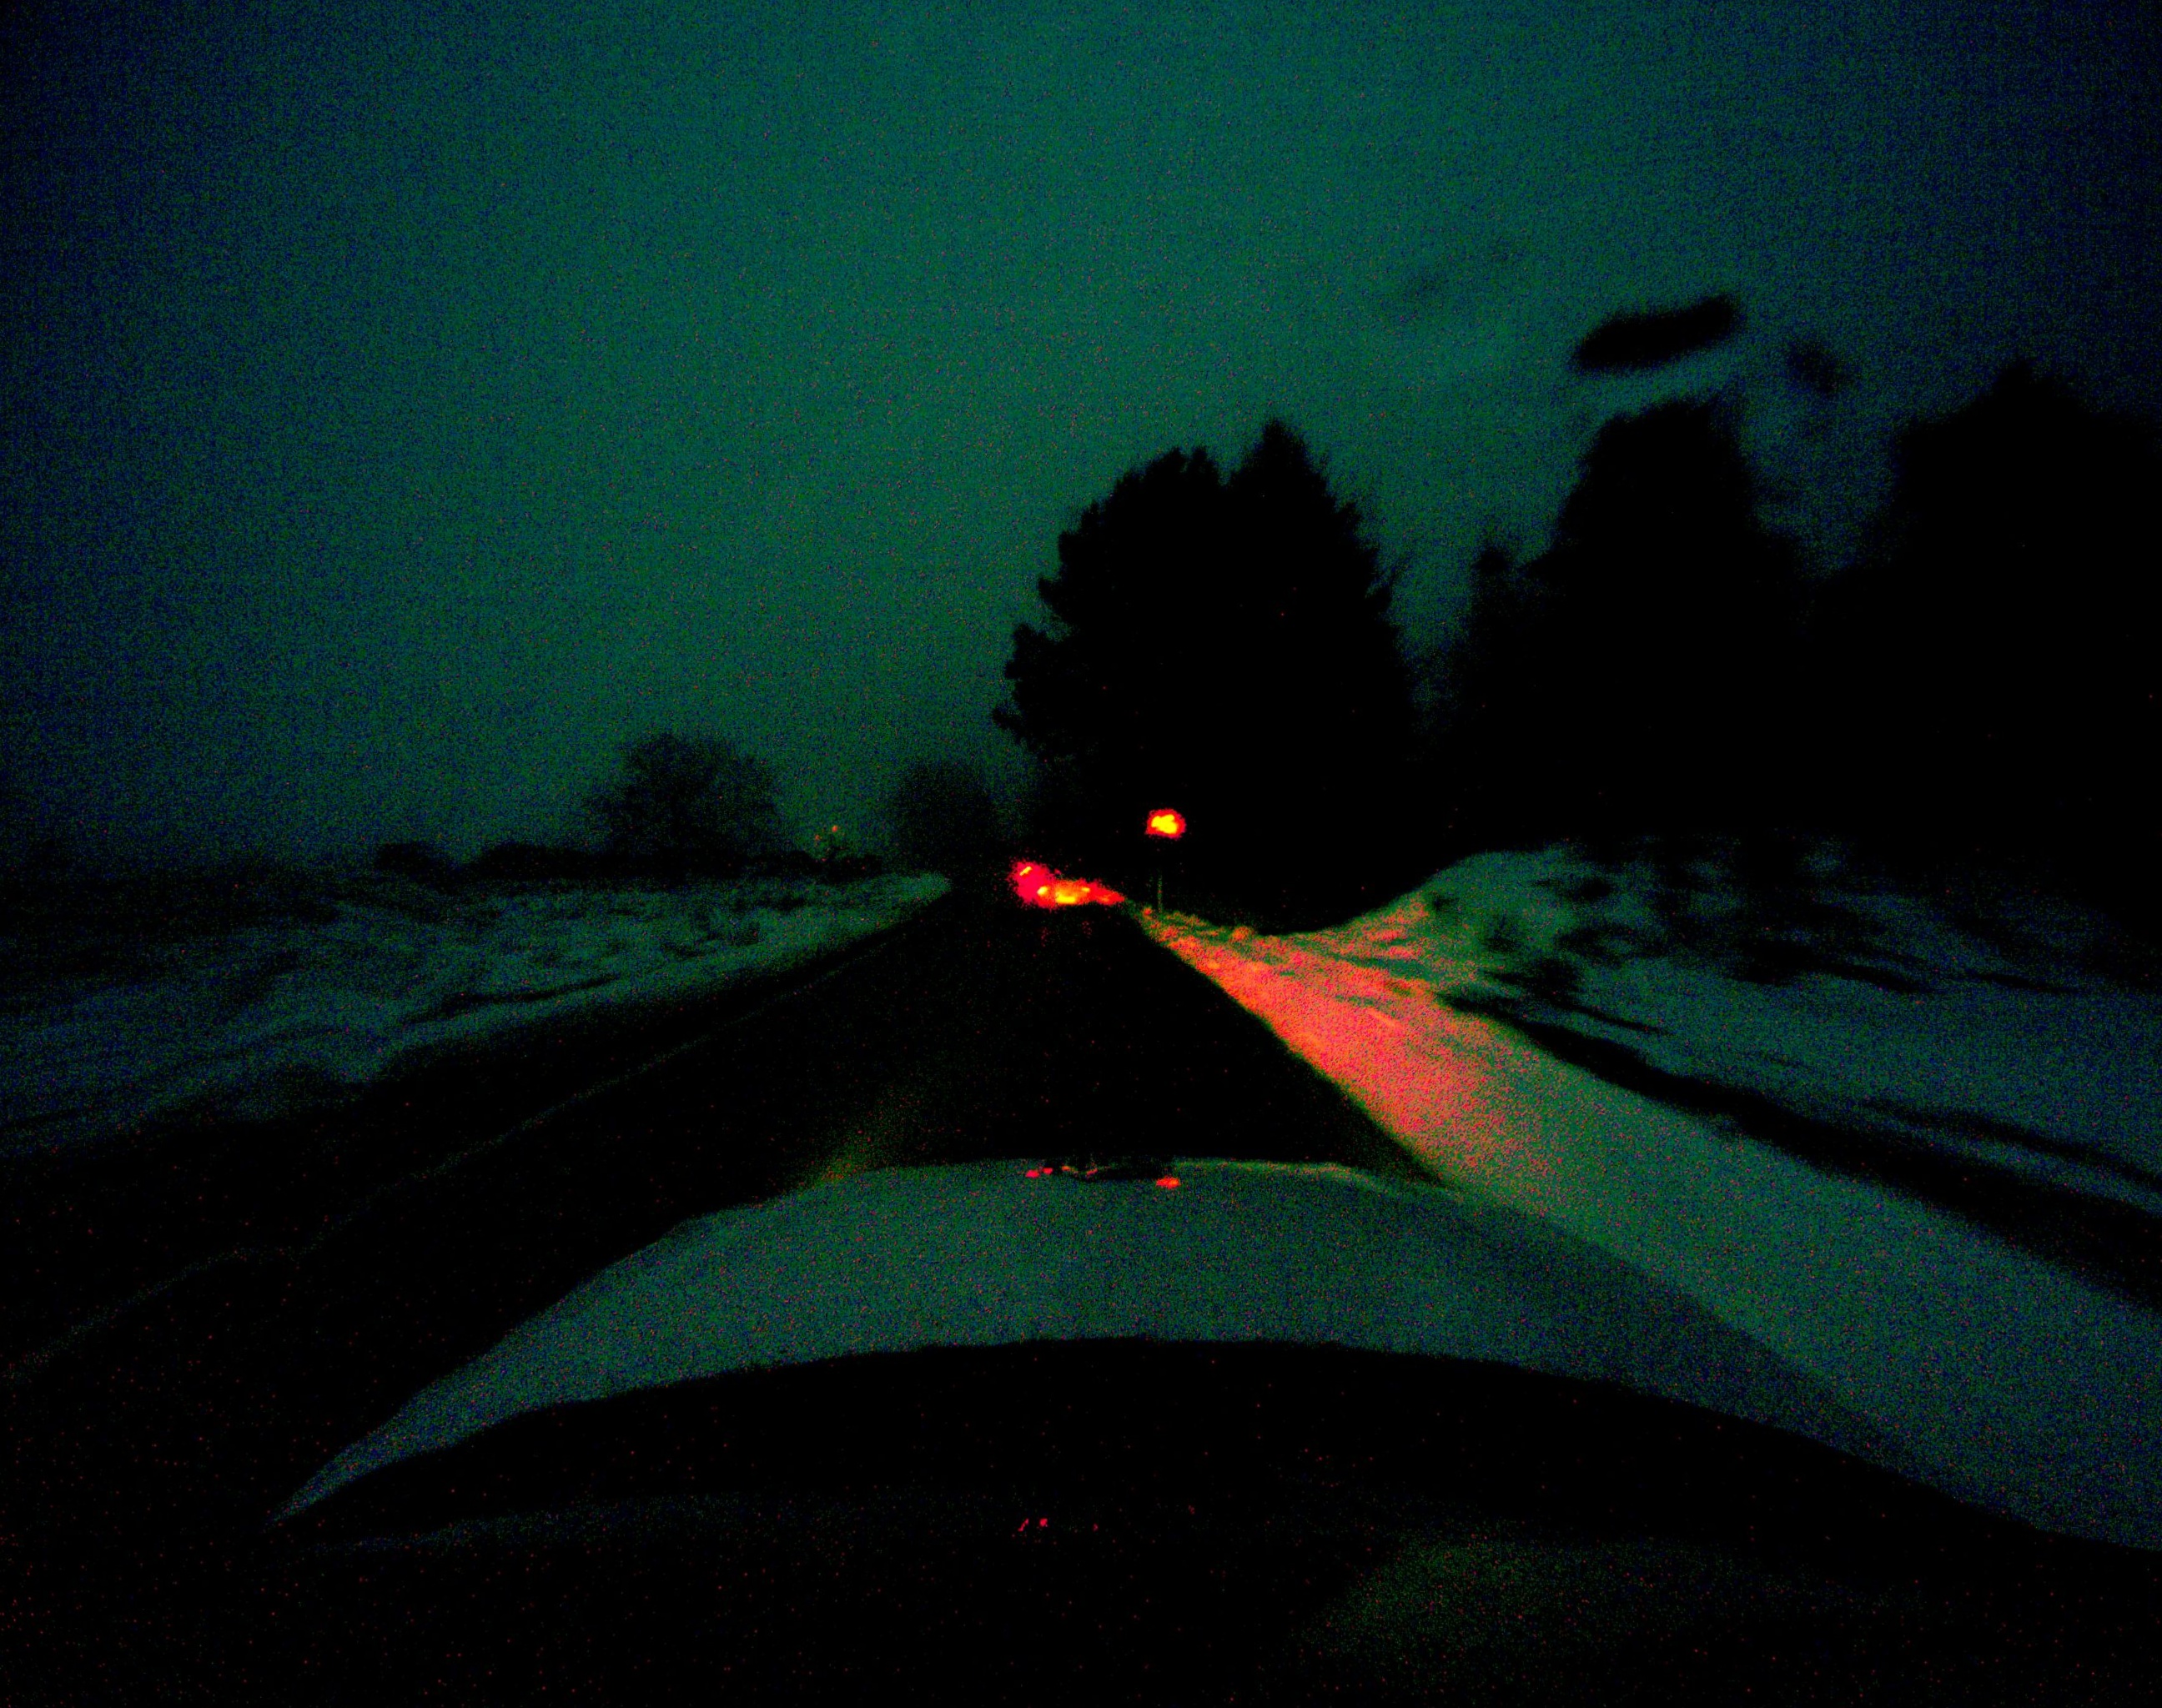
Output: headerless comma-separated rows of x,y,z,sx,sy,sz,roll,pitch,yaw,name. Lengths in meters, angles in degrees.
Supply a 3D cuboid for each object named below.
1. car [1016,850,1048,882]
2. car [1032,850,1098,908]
-2.407,0.605,40.427,1.475,1.508,3.049,-1,-1,-3,car
-0.526,0.758,24.443,1.703,1.463,3.995,5,-2,-3,car
